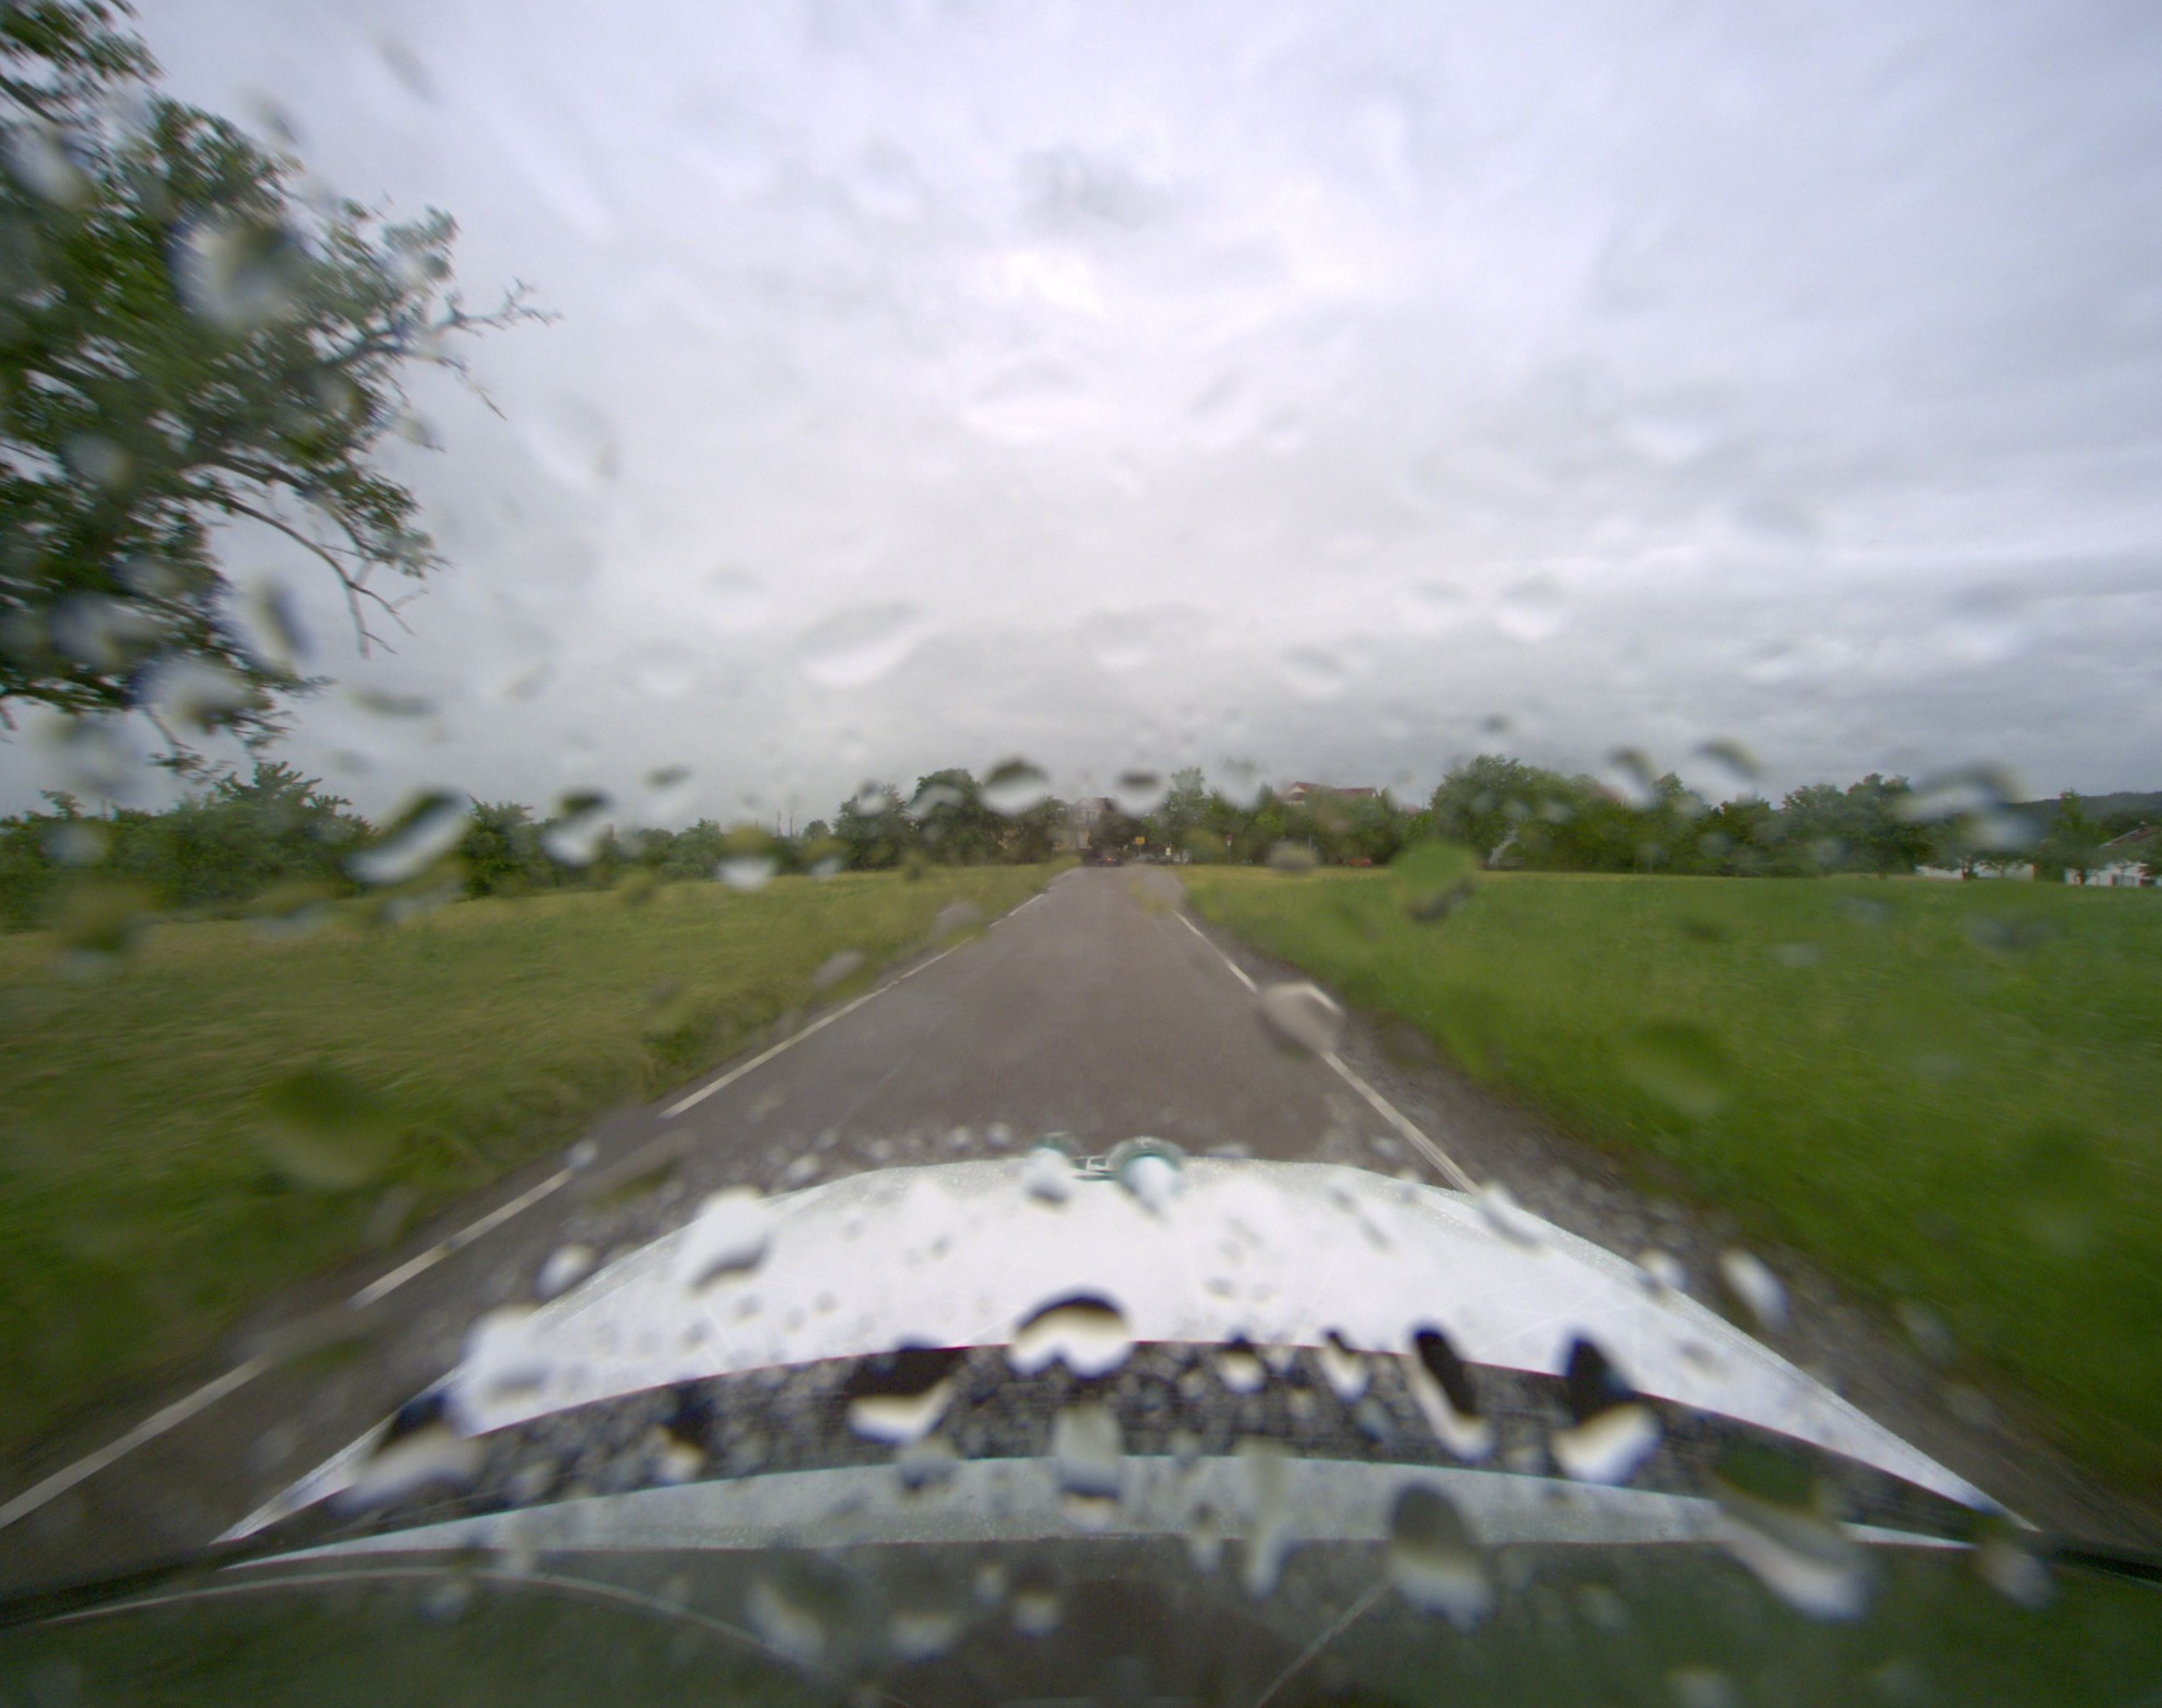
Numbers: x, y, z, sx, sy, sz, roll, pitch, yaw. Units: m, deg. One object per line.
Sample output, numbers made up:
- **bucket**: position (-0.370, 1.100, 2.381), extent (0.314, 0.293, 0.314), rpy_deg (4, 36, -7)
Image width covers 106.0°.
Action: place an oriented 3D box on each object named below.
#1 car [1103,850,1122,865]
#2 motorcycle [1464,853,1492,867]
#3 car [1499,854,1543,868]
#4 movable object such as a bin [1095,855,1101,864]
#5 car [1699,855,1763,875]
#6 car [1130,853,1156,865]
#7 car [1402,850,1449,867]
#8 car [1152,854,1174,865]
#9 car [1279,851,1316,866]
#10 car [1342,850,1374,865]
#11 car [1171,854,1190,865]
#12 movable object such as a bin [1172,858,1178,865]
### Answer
- **car**: position (3.270, 0.382, 85.308), extent (1.683, 1.552, 3.691), rpy_deg (0, -1, -4)
- **motorcycle**: position (37.487, 0.585, 76.910), extent (2.241, 1.302, 0.975), rpy_deg (1, 0, 14)
- **car**: position (41.184, 0.647, 76.211), extent (3.294, 1.281, 1.740), rpy_deg (0, 0, 13)
- **movable object such as a bin**: position (2.101, 0.714, 100.098), extent (0.659, 1.073, 0.547), rpy_deg (-1, 0, 23)
- **car**: position (58.007, 0.950, 72.723), extent (3.961, 1.607, 1.968), rpy_deg (3, 1, 12)
- **car**: position (8.471, 0.704, 111.118), extent (1.758, 1.518, 4.163), rpy_deg (2, 1, 30)
- **car**: position (33.148, 0.386, 78.432), extent (3.948, 1.552, 1.859), rpy_deg (1, 0, 14)
- **car**: position (11.661, 0.806, 116.140), extent (1.619, 1.409, 3.627), rpy_deg (2, 1, 32)
- **car**: position (21.740, 0.492, 81.746), extent (3.513, 1.479, 1.688), rpy_deg (-1, -1, 20)
- **car**: position (27.240, 0.388, 80.032), extent (2.977, 1.436, 1.561), rpy_deg (0, -1, 19)
- **car**: position (14.719, 0.818, 120.597), extent (1.496, 1.476, 3.294), rpy_deg (2, 1, 33)
- **movable object such as a bin**: position (11.966, 0.924, 103.375), extent (0.565, 0.931, 0.533), rpy_deg (0, -1, 35)
